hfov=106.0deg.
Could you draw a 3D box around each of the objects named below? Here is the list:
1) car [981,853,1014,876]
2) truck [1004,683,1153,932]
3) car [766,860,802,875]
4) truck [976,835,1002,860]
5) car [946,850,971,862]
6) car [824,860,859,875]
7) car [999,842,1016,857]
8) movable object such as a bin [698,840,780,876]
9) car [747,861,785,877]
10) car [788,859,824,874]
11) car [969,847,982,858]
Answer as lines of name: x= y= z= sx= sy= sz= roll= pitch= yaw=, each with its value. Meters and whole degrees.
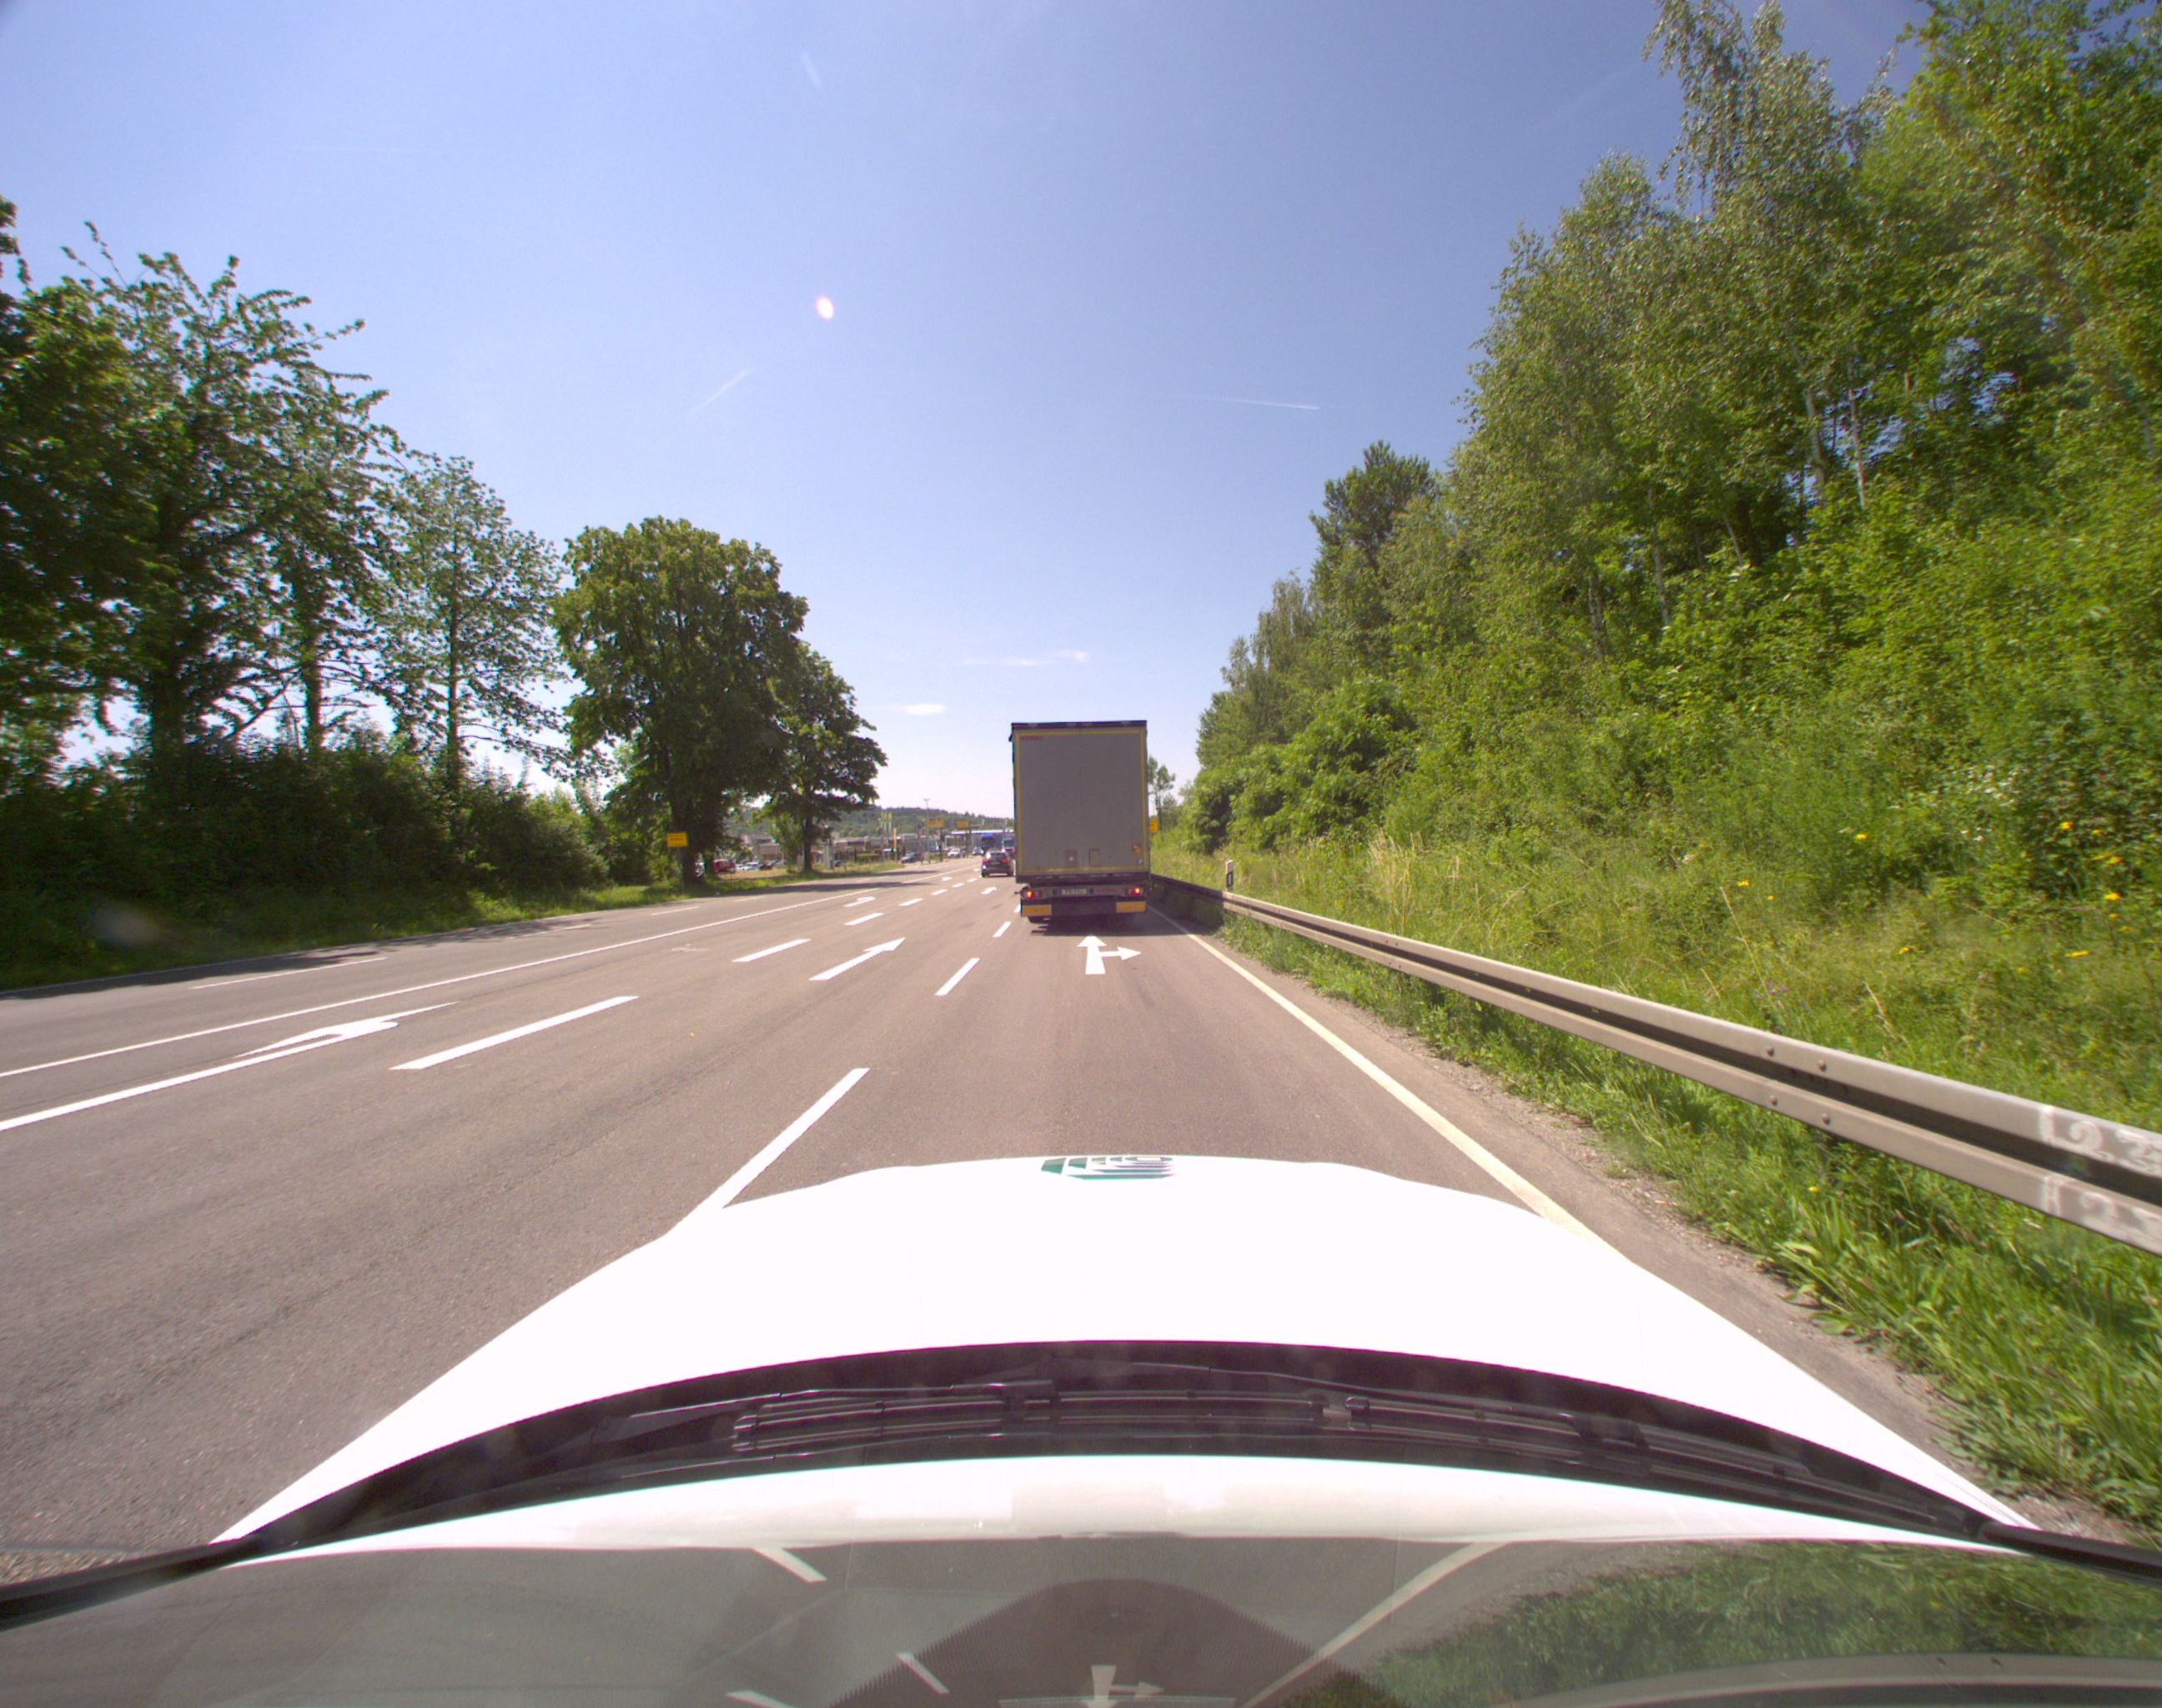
car: x=-4.919 y=0.616 z=48.535 sx=1.523 sy=1.341 sz=3.331 roll=0 pitch=-1 yaw=2
truck: x=-0.040 y=-0.814 z=23.521 sx=2.747 sy=4.639 sz=16.652 roll=0 pitch=0 yaw=0
car: x=-32.939 y=1.524 z=90.179 sx=3.948 sy=1.618 sz=1.852 roll=-1 pitch=0 yaw=36
truck: x=-16.673 y=-1.201 z=148.592 sx=2.959 sy=4.176 sz=16.567 roll=-2 pitch=0 yaw=-1
car: x=-21.211 y=0.366 z=140.737 sx=1.974 sy=2.013 sz=4.026 roll=-1 pitch=0 yaw=35
car: x=-27.630 y=1.552 z=93.837 sx=3.948 sy=1.618 sz=1.852 roll=-1 pitch=0 yaw=36
car: x=-9.712 y=-0.592 z=107.855 sx=1.988 sy=2.013 sz=3.998 roll=0 pitch=0 yaw=-1
movable object such as a bin: x=-33.942 y=0.386 z=81.007 sx=3.013 sy=3.298 sz=6.835 roll=-1 pitch=1 yaw=39
car: x=-34.158 y=1.644 z=88.285 sx=3.948 sy=1.651 sz=2.013 roll=-1 pitch=0 yaw=36
car: x=-31.192 y=1.461 z=92.357 sx=3.948 sy=1.618 sz=1.852 roll=-1 pitch=0 yaw=36
car: x=-20.119 y=-0.207 z=155.480 sx=1.987 sy=2.014 sz=3.999 roll=0 pitch=-1 yaw=0
